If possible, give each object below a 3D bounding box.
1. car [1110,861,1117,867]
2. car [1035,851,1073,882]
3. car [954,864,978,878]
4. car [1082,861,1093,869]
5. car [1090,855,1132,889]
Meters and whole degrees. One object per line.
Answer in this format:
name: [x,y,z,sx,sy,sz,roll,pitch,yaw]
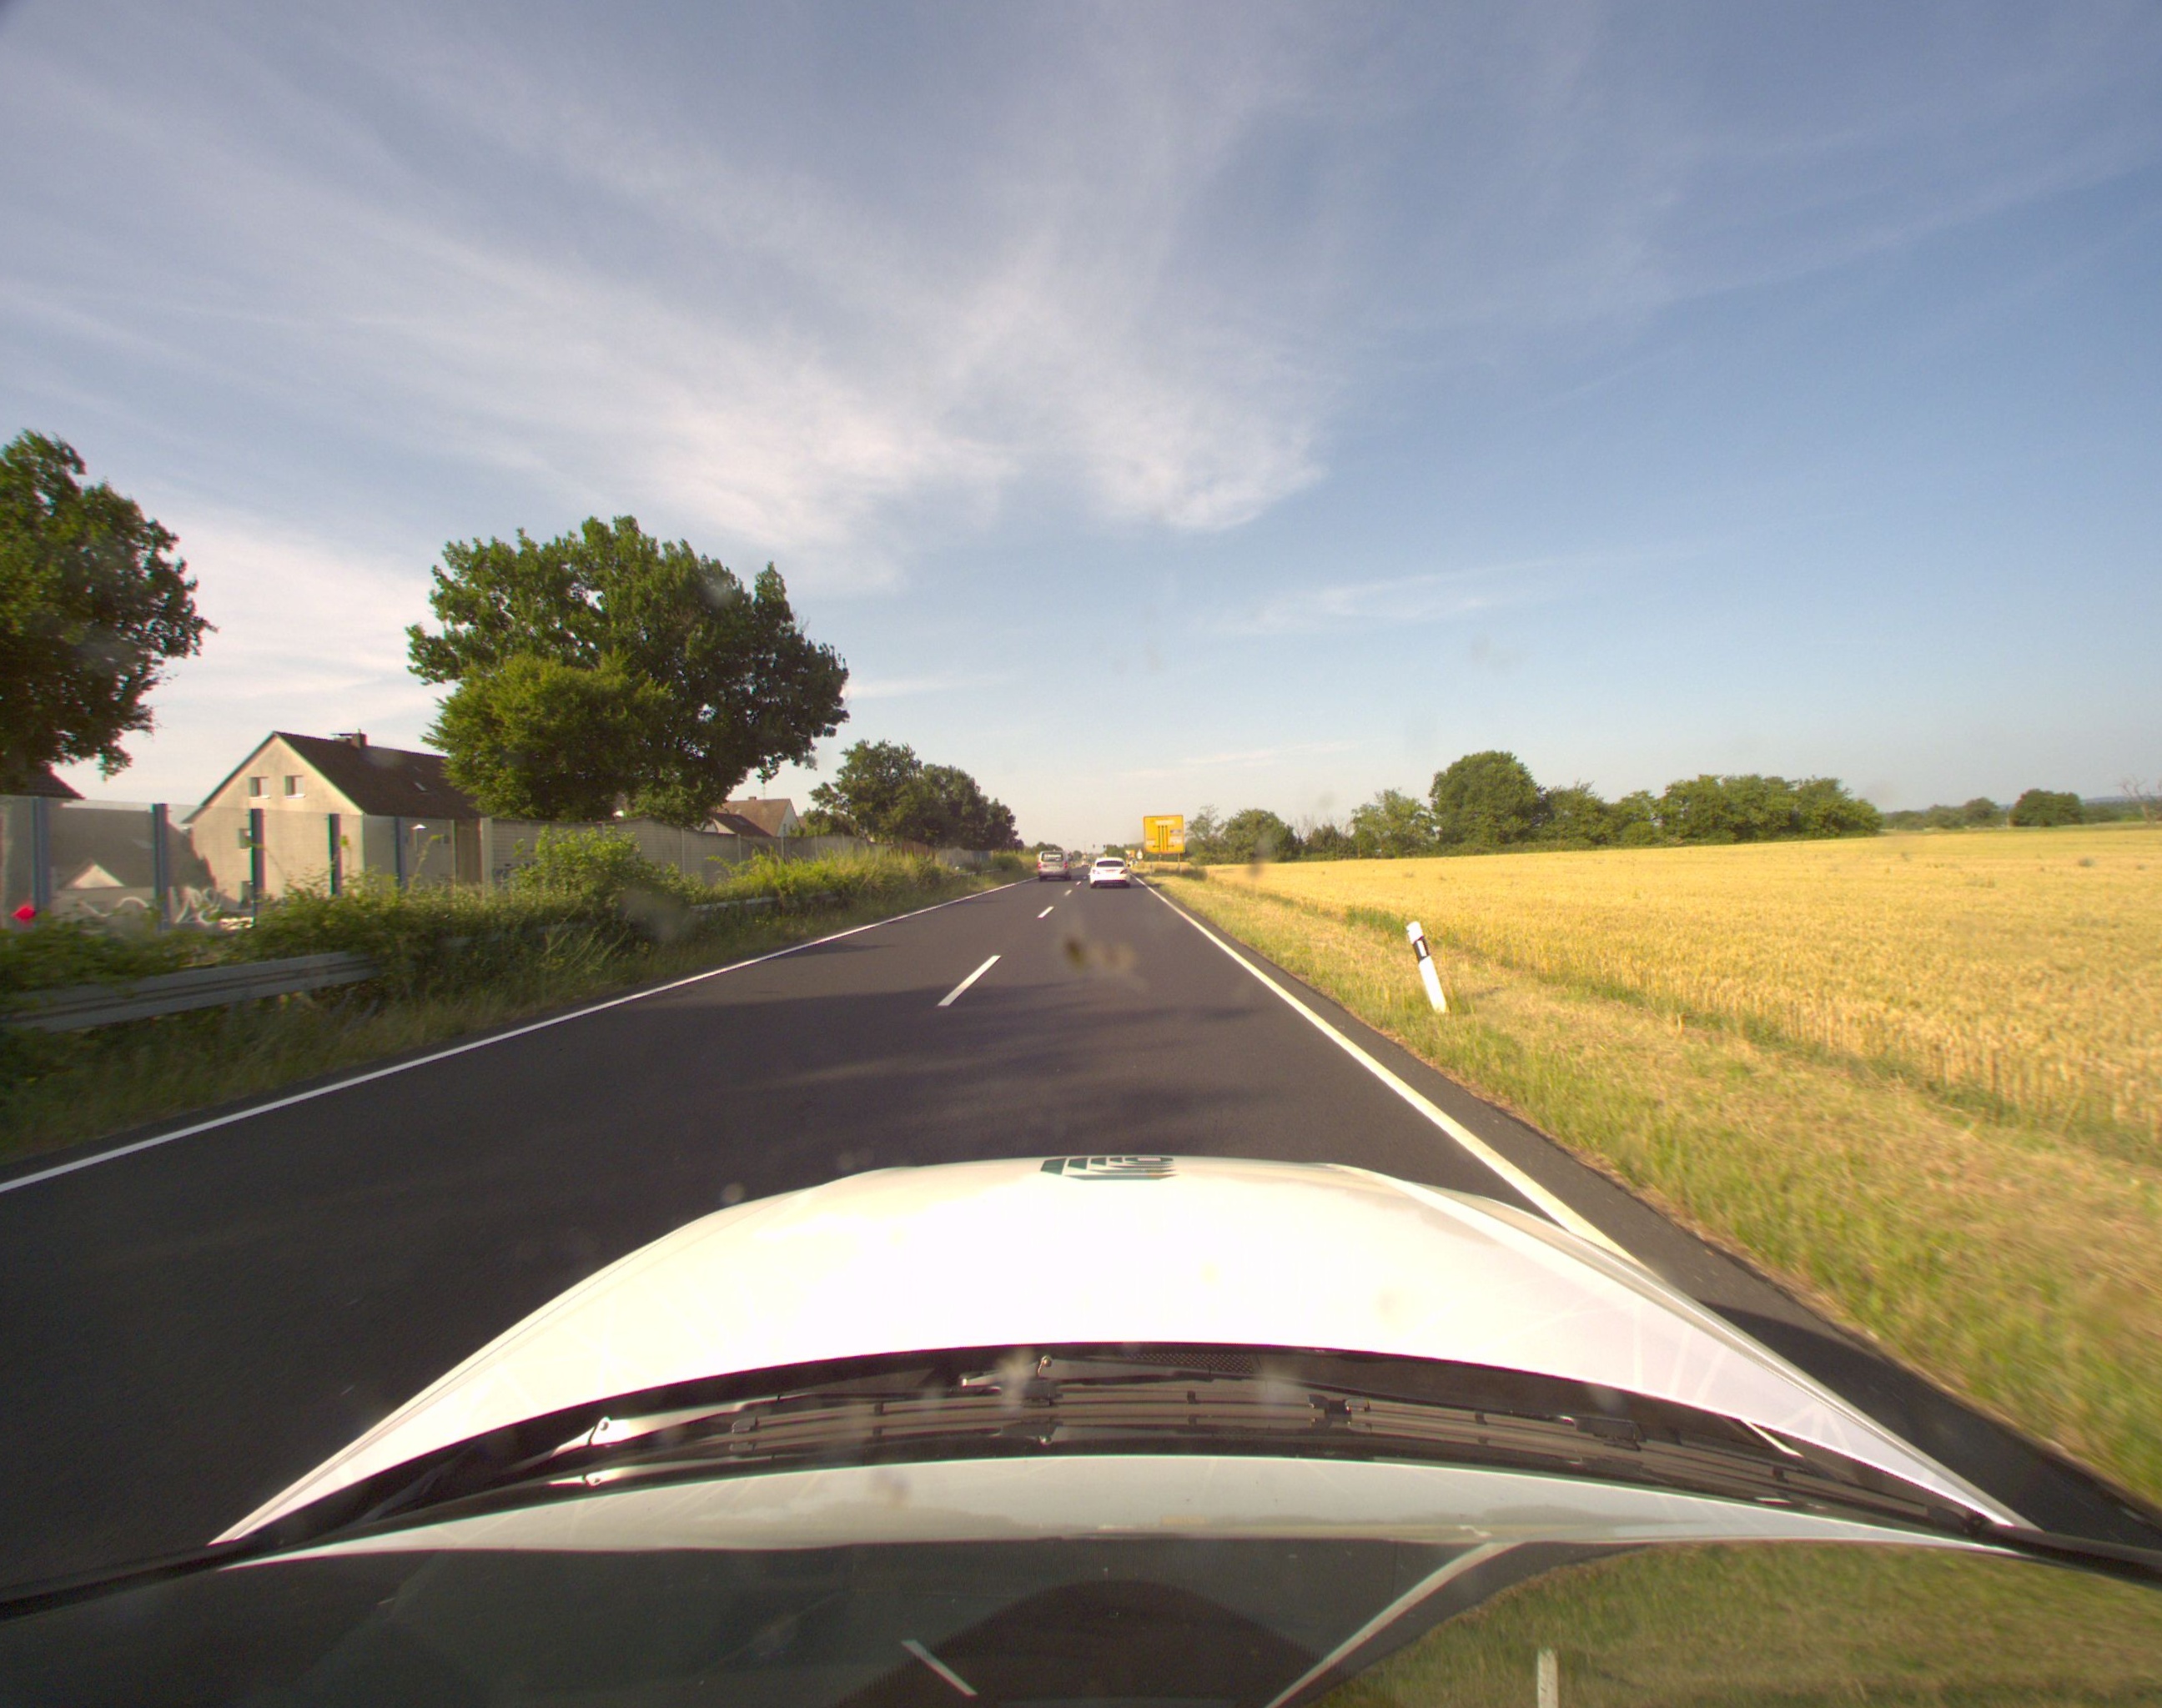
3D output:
car: [8.320,2.606,208.260,1.747,1.517,4.002,-2,-1,2]
car: [-1.668,0.756,52.093,2.017,1.892,4.961,0,0,2]
car: [-11.499,1.715,81.673,1.642,1.361,4.290,1,-1,1]
car: [1.151,1.880,139.472,1.711,1.492,3.586,0,-1,2]
car: [1.395,0.823,39.115,1.888,1.509,4.001,-1,-1,1]
